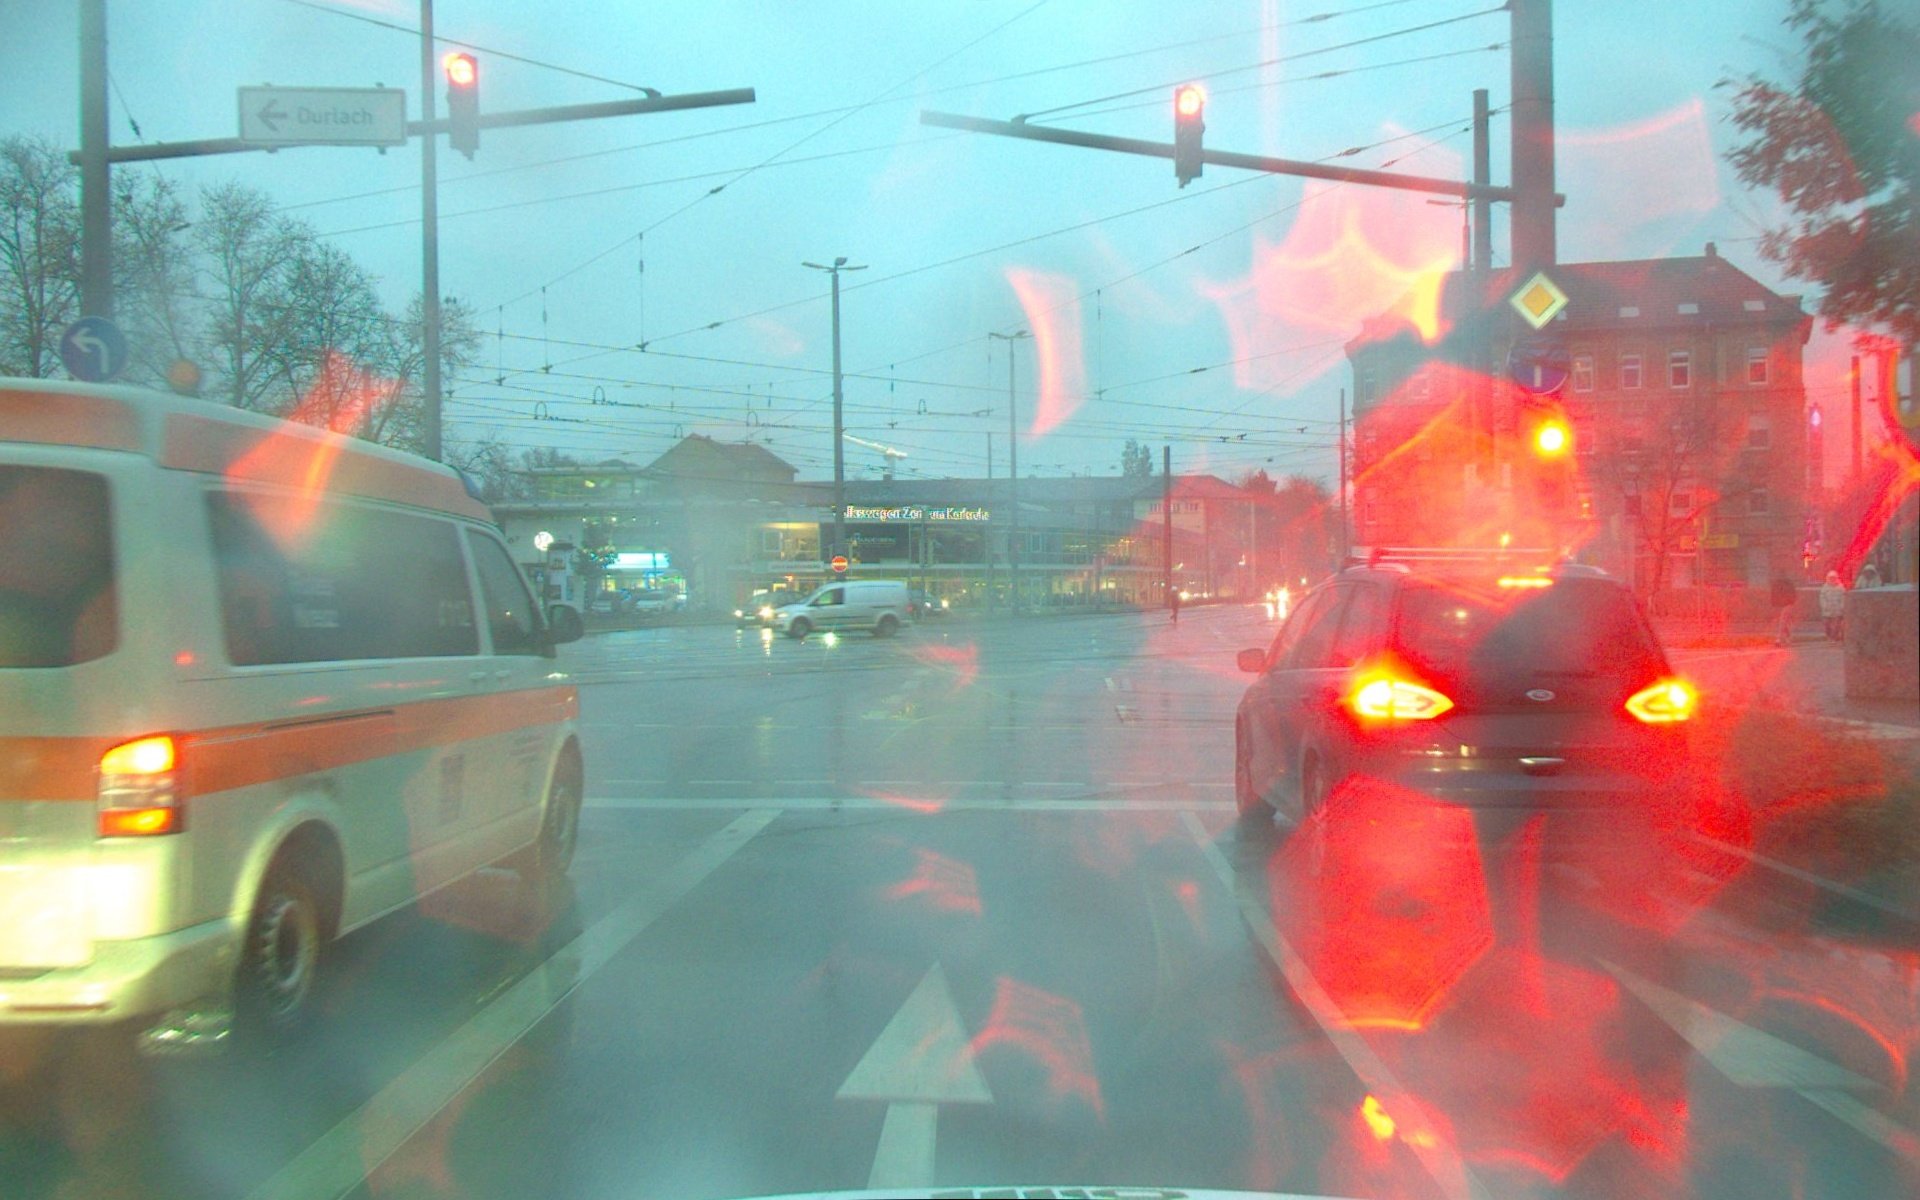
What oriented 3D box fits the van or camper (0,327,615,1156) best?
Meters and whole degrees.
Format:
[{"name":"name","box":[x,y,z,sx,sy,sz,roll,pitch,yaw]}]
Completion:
[{"name":"van or camper","box":[-3.080,0.356,6.803,2.156,2.146,4.988,1,0,1]}]

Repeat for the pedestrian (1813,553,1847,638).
[{"name":"pedestrian","box":[20.463,-0.097,38.909,0.663,1.984,0.661,-1,0,29]}]

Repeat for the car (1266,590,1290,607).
[{"name":"car","box":[31.421,-0.189,163.250,1.823,1.629,3.788,-1,0,18]}]

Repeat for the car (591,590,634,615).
[{"name":"car","box":[-22.849,0.168,108.853,1.824,1.629,4.001,-1,0,2]}]

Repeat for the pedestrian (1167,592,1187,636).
[{"name":"pedestrian","box":[9.274,0.596,70.670,0.586,1.872,0.611,-1,0,-34]}]

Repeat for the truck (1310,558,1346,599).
[{"name":"truck","box":[25.552,-1.458,114.732,1.951,2.738,5.118,-1,0,17]}]

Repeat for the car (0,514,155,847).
[{"name":"car","box":[-6.113,0.439,8.738,1.846,1.803,3.999,0,0,-2]}]

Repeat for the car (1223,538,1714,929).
[{"name":"car","box":[2.747,0.606,10.008,1.741,1.832,4.426,0,1,2]}]

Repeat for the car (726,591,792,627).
[{"name":"car","box":[-8.599,0.360,71.163,1.774,1.472,4.003,-1,0,9]}]

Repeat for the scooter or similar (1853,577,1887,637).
[{"name":"scooter or similar","box":[20.836,0.159,37.873,0.663,1.340,0.825,-1,0,29]}]

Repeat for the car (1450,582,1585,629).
[{"name":"car","box":[21.280,0.197,63.165,4.717,1.686,1.734,-1,0,-14]}]

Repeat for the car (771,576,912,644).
[{"name":"car","box":[-3.940,0.369,54.831,4.333,2.049,1.902,2,-4,-17]}]

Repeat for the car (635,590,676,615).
[{"name":"car","box":[-19.984,0.161,108.628,1.824,1.629,4.001,-1,0,2]}]

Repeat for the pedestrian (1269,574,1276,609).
[{"name":"pedestrian","box":[18.110,-0.506,95.892,0.336,2.049,0.418,-1,0,15]}]

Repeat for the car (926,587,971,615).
[{"name":"car","box":[-0.578,0.059,89.152,1.774,1.472,4.003,-1,0,9]}]

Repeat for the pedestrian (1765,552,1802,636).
[{"name":"pedestrian","box":[19.834,-0.138,39.816,0.665,1.984,0.674,-1,0,36]}]

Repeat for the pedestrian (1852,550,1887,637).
[{"name":"pedestrian","box":[21.186,-0.150,38.536,0.663,1.984,0.661,-1,0,29]}]
